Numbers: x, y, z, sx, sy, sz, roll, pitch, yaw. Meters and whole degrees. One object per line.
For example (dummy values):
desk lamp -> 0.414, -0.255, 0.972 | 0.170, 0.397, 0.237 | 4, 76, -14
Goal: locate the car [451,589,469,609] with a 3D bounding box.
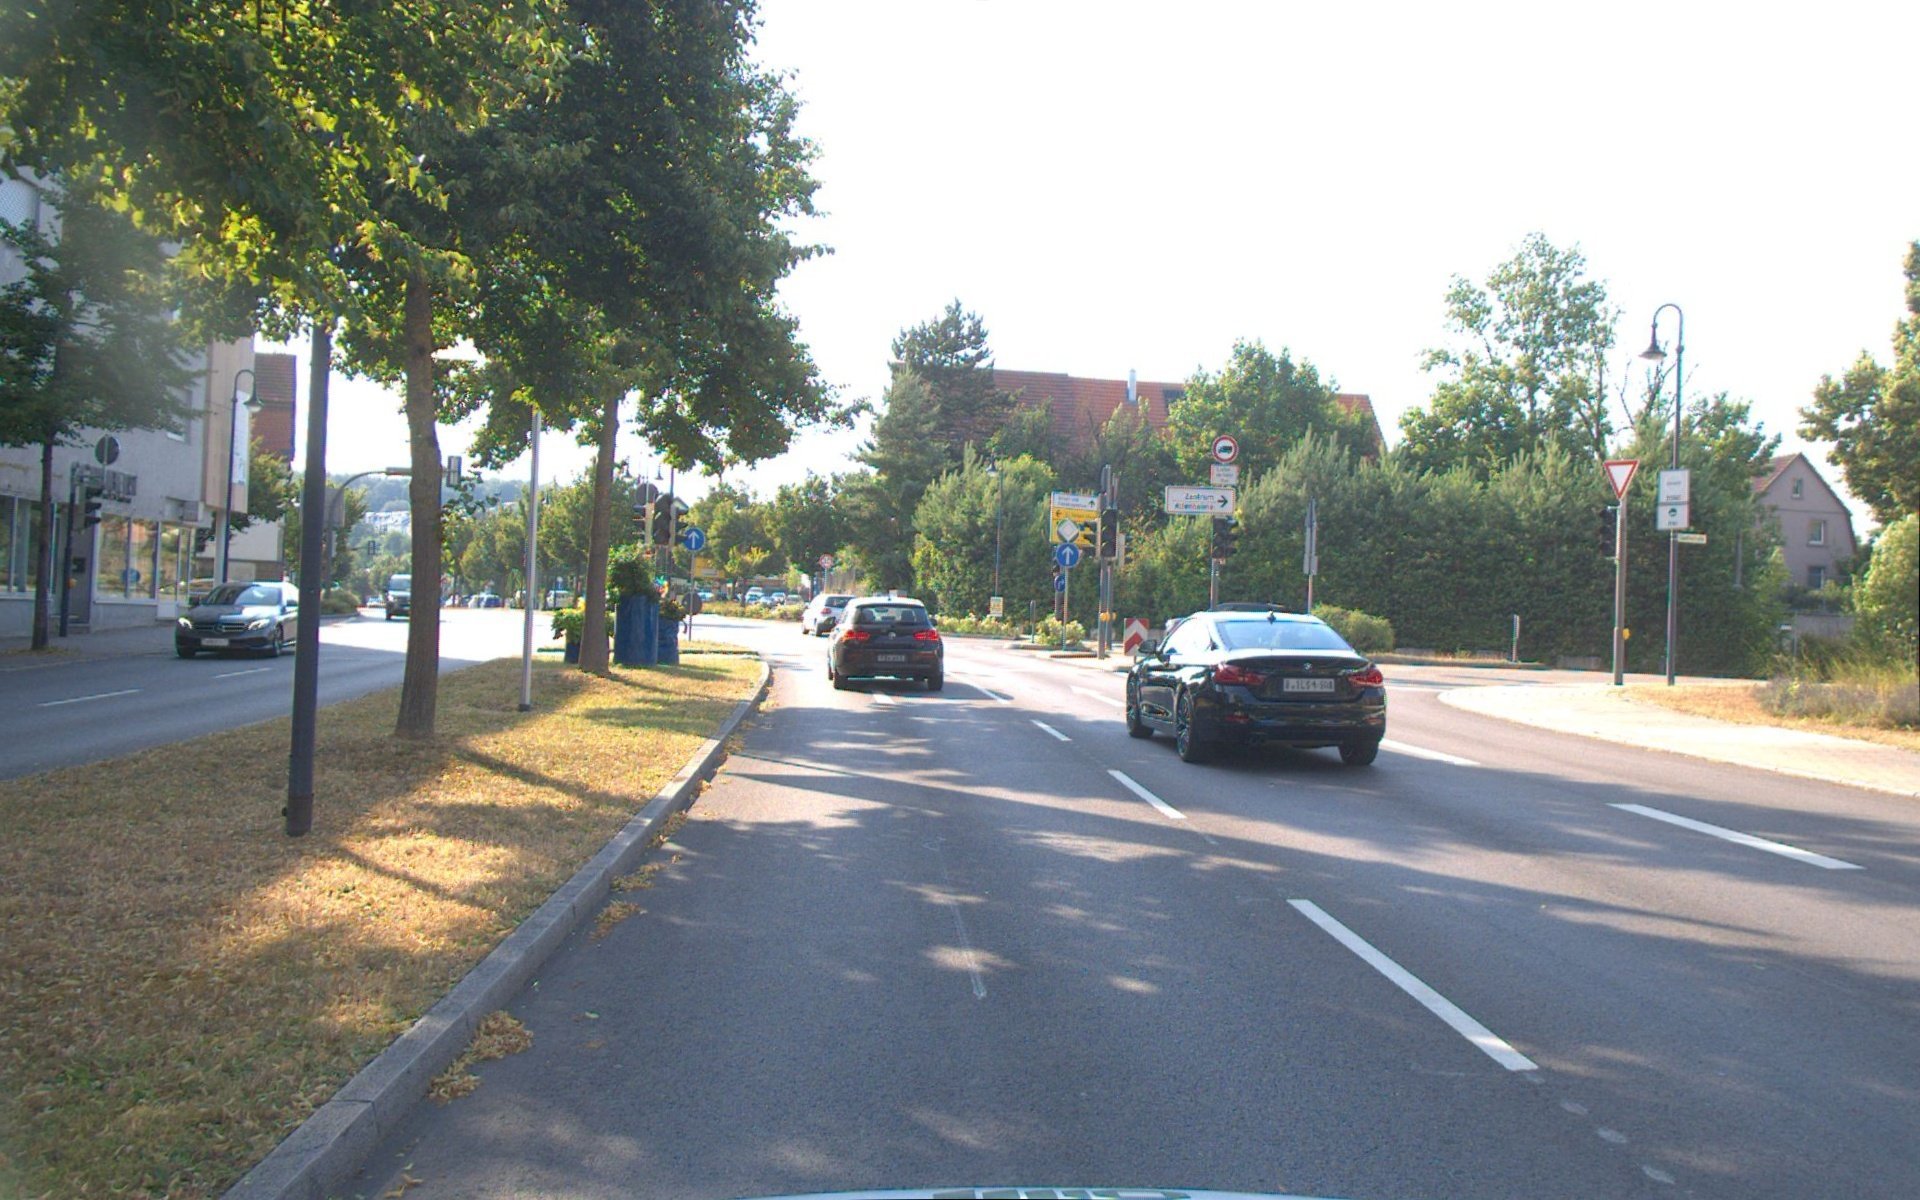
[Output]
car -> -53.026, -0.068, 175.276 | 1.745, 2.049, 3.980 | 1, 0, -18

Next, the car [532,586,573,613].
car -> -28.539, -0.029, 115.680 | 2.186, 1.800, 4.424 | 1, 0, -22

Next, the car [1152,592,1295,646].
car -> 8.428, 0.584, 52.969 | 4.177, 1.594, 1.789 | 1, 0, 30

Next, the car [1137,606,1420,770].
car -> 2.982, 0.774, 16.433 | 1.881, 1.388, 4.351 | 1, 0, -1

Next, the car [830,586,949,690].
car -> -1.077, 0.584, 27.207 | 1.685, 1.516, 4.353 | 2, 0, 1

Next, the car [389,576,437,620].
car -> -22.766, -0.069, 68.924 | 1.824, 1.767, 4.897 | 1, 0, -18

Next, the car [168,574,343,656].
car -> -14.185, 0.290, 33.630 | 1.816, 1.512, 4.990 | 1, 0, -6

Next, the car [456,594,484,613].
car -> -48.949, 0.313, 165.159 | 2.186, 1.800, 4.424 | 1, 0, -22

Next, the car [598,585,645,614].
car -> -21.759, -0.048, 106.235 | 2.186, 1.800, 4.424 | 1, 0, -22

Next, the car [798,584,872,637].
car -> -4.512, 0.369, 59.225 | 1.893, 1.800, 4.438 | 1, 0, -14
